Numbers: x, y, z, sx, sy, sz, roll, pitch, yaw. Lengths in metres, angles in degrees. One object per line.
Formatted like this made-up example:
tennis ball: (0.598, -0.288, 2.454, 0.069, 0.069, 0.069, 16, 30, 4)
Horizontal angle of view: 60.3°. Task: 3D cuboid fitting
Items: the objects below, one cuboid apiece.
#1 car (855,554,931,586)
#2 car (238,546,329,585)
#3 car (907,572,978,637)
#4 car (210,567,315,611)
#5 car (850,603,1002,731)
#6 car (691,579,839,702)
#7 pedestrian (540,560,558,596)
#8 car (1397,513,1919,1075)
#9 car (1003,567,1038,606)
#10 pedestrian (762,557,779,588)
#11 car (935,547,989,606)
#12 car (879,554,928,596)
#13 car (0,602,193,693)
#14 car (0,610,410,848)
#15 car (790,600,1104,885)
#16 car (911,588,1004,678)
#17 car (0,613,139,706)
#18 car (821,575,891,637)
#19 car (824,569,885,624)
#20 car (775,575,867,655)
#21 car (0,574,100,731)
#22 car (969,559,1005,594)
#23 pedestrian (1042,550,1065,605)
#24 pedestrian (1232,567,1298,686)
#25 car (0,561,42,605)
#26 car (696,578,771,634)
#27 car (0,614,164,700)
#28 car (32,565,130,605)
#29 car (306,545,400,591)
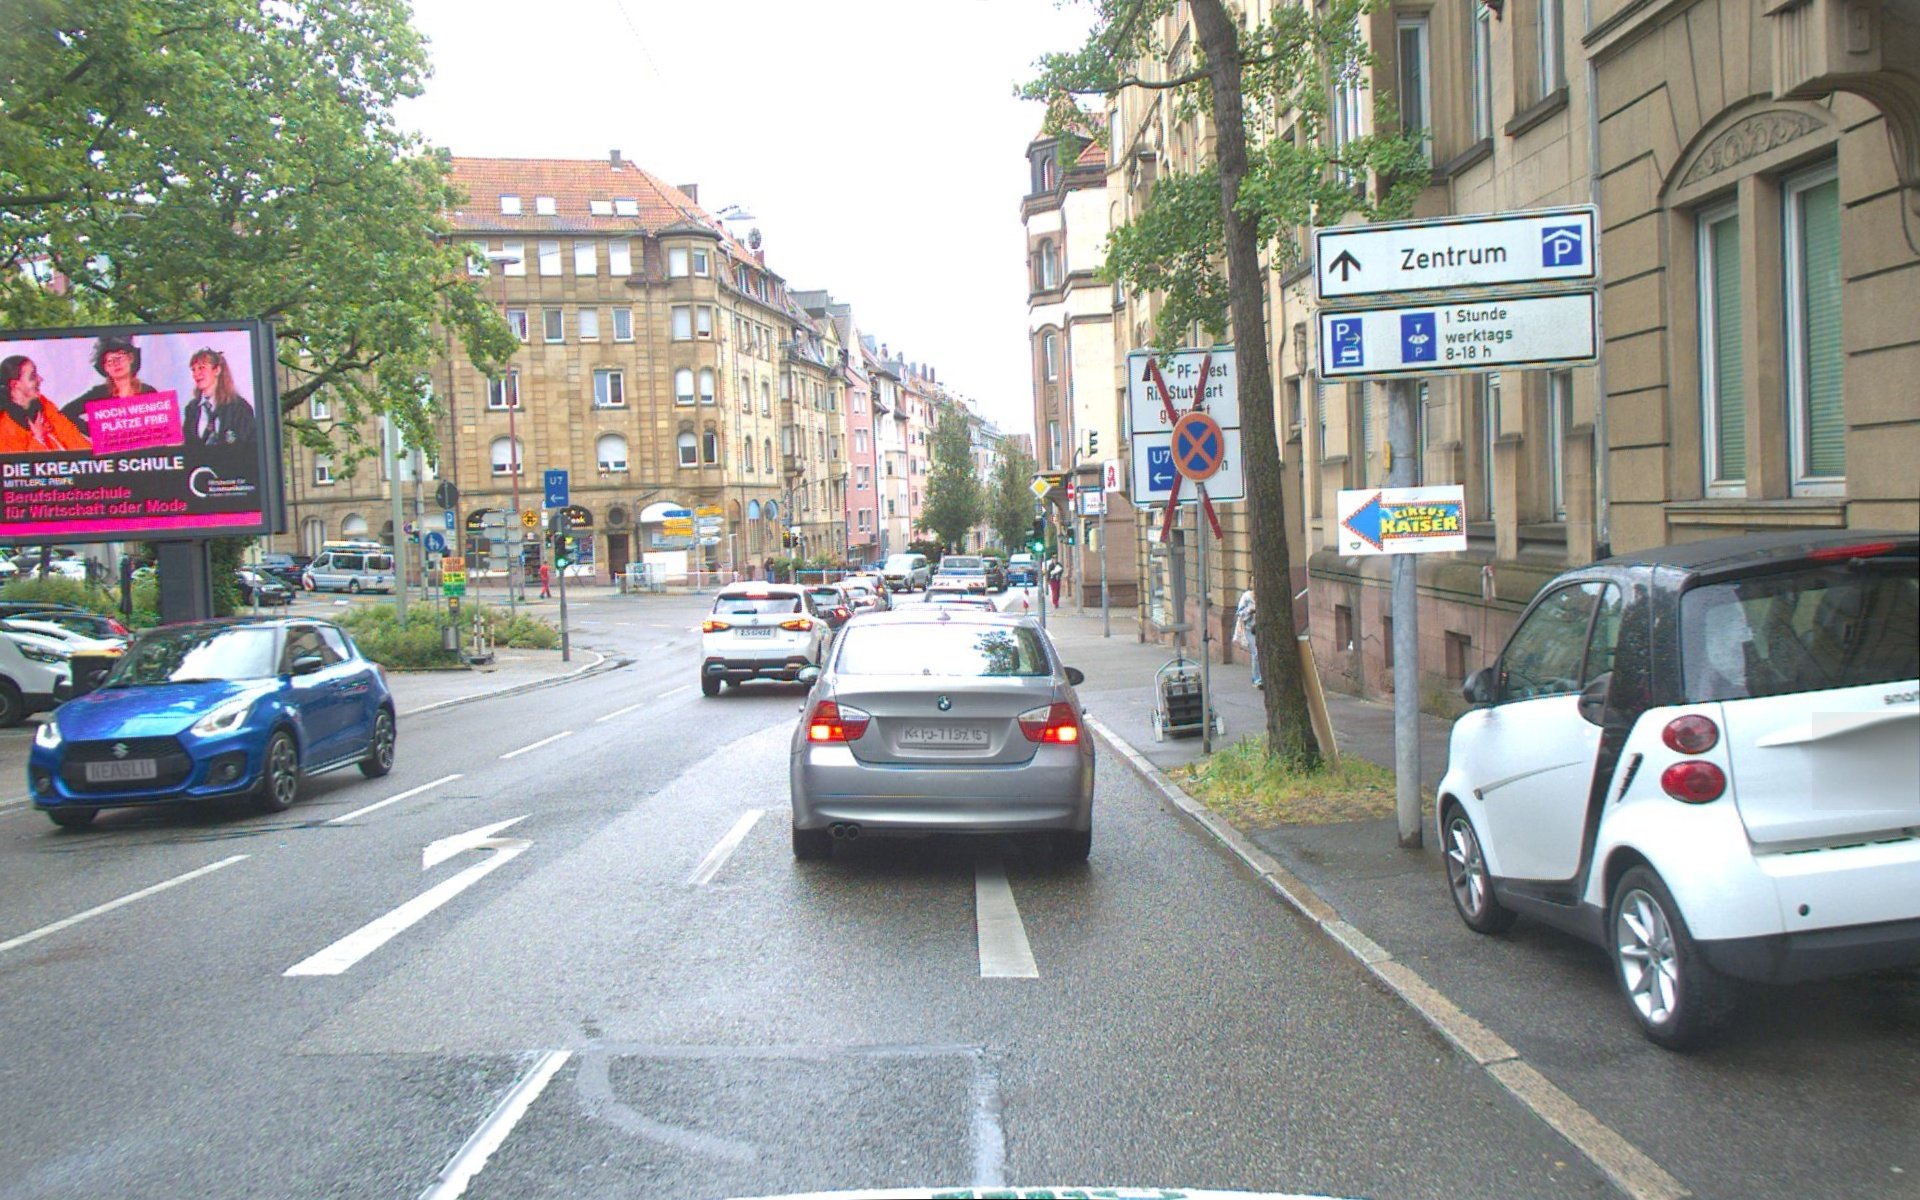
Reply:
car: (-4.557, -2.037, 113.704, 5.071, 2.049, 2.698, 1, -1, -1)
car: (-33.713, -1.734, 82.381, 4.197, 1.870, 1.997, 2, 2, 28)
car: (-0.488, 0.094, 43.100, 1.724, 1.594, 3.998, -1, 1, -2)
car: (-29.398, -0.505, 69.672, 4.157, 1.756, 1.996, 1, 2, 31)
car: (-0.355, 0.762, 20.788, 1.723, 1.407, 4.000, 0, 0, 1)
car: (-2.962, 0.565, 25.896, 1.830, 1.653, 4.000, -2, 1, -1)
pedestrian: (-18.776, -0.998, 75.489, 0.525, 1.605, 0.720, -2, 0, 7)
car: (2.791, 0.537, 6.350, 1.273, 1.569, 2.976, -6, 0, -1)
car: (3.377, -0.707, 91.657, 1.689, 2.049, 4.002, 1, 0, 5)
pedestrian: (-9.681, -1.398, 84.329, 0.716, 1.605, 0.528, -1, 0, 8)
car: (0.062, -0.852, 62.106, 1.953, 2.143, 3.999, 0, 0, 0)
car: (-2.721, -1.205, 80.650, 1.724, 1.959, 4.327, -1, 1, 7)
car: (-17.605, 0.922, 33.007, 4.068, 1.682, 1.756, -1, 0, -24)
car: (-5.977, 0.916, 13.526, 1.681, 1.475, 3.741, -5, 0, -2)
car: (-0.042, 0.727, 10.213, 1.590, 1.407, 3.615, 0, 0, 1)
car: (-0.010, 0.540, 29.890, 1.562, 1.490, 4.001, 0, 1, 1)
car: (-16.272, 1.013, 27.937, 4.112, 1.481, 1.783, -1, 0, -21)
car: (-3.014, 0.150, 48.547, 1.723, 1.737, 4.000, 0, 0, 1)
car: (-3.478, -0.134, 55.172, 1.723, 1.737, 4.000, 0, 0, 1)
car: (-3.165, 0.306, 38.232, 1.723, 1.737, 4.000, 0, 0, 1)
car: (-14.874, 0.759, 22.942, 4.988, 2.142, 1.980, -1, 0, -22)
car: (1.330, -1.124, 80.882, 1.689, 1.579, 4.001, 1, 0, 2)
pedestrian: (3.317, -0.793, 58.538, 0.727, 1.943, 0.659, -1, 0, -1)
pedestrian: (4.112, 0.347, 22.350, 0.618, 1.534, 0.693, -5, 0, -1)
car: (-45.733, -0.822, 79.003, 3.914, 2.049, 1.573, 0, 1, 32)
car: (-7.089, 0.169, 52.075, 1.703, 1.553, 4.471, -4, 0, -1)
car: (-16.967, 1.035, 30.537, 3.915, 1.476, 1.758, -1, 0, -21)
car: (-40.237, -0.693, 75.681, 4.155, 1.756, 1.997, 0, 3, 29)
car: (-29.363, -1.573, 79.948, 4.197, 2.138, 1.997, 2, 2, 28)
